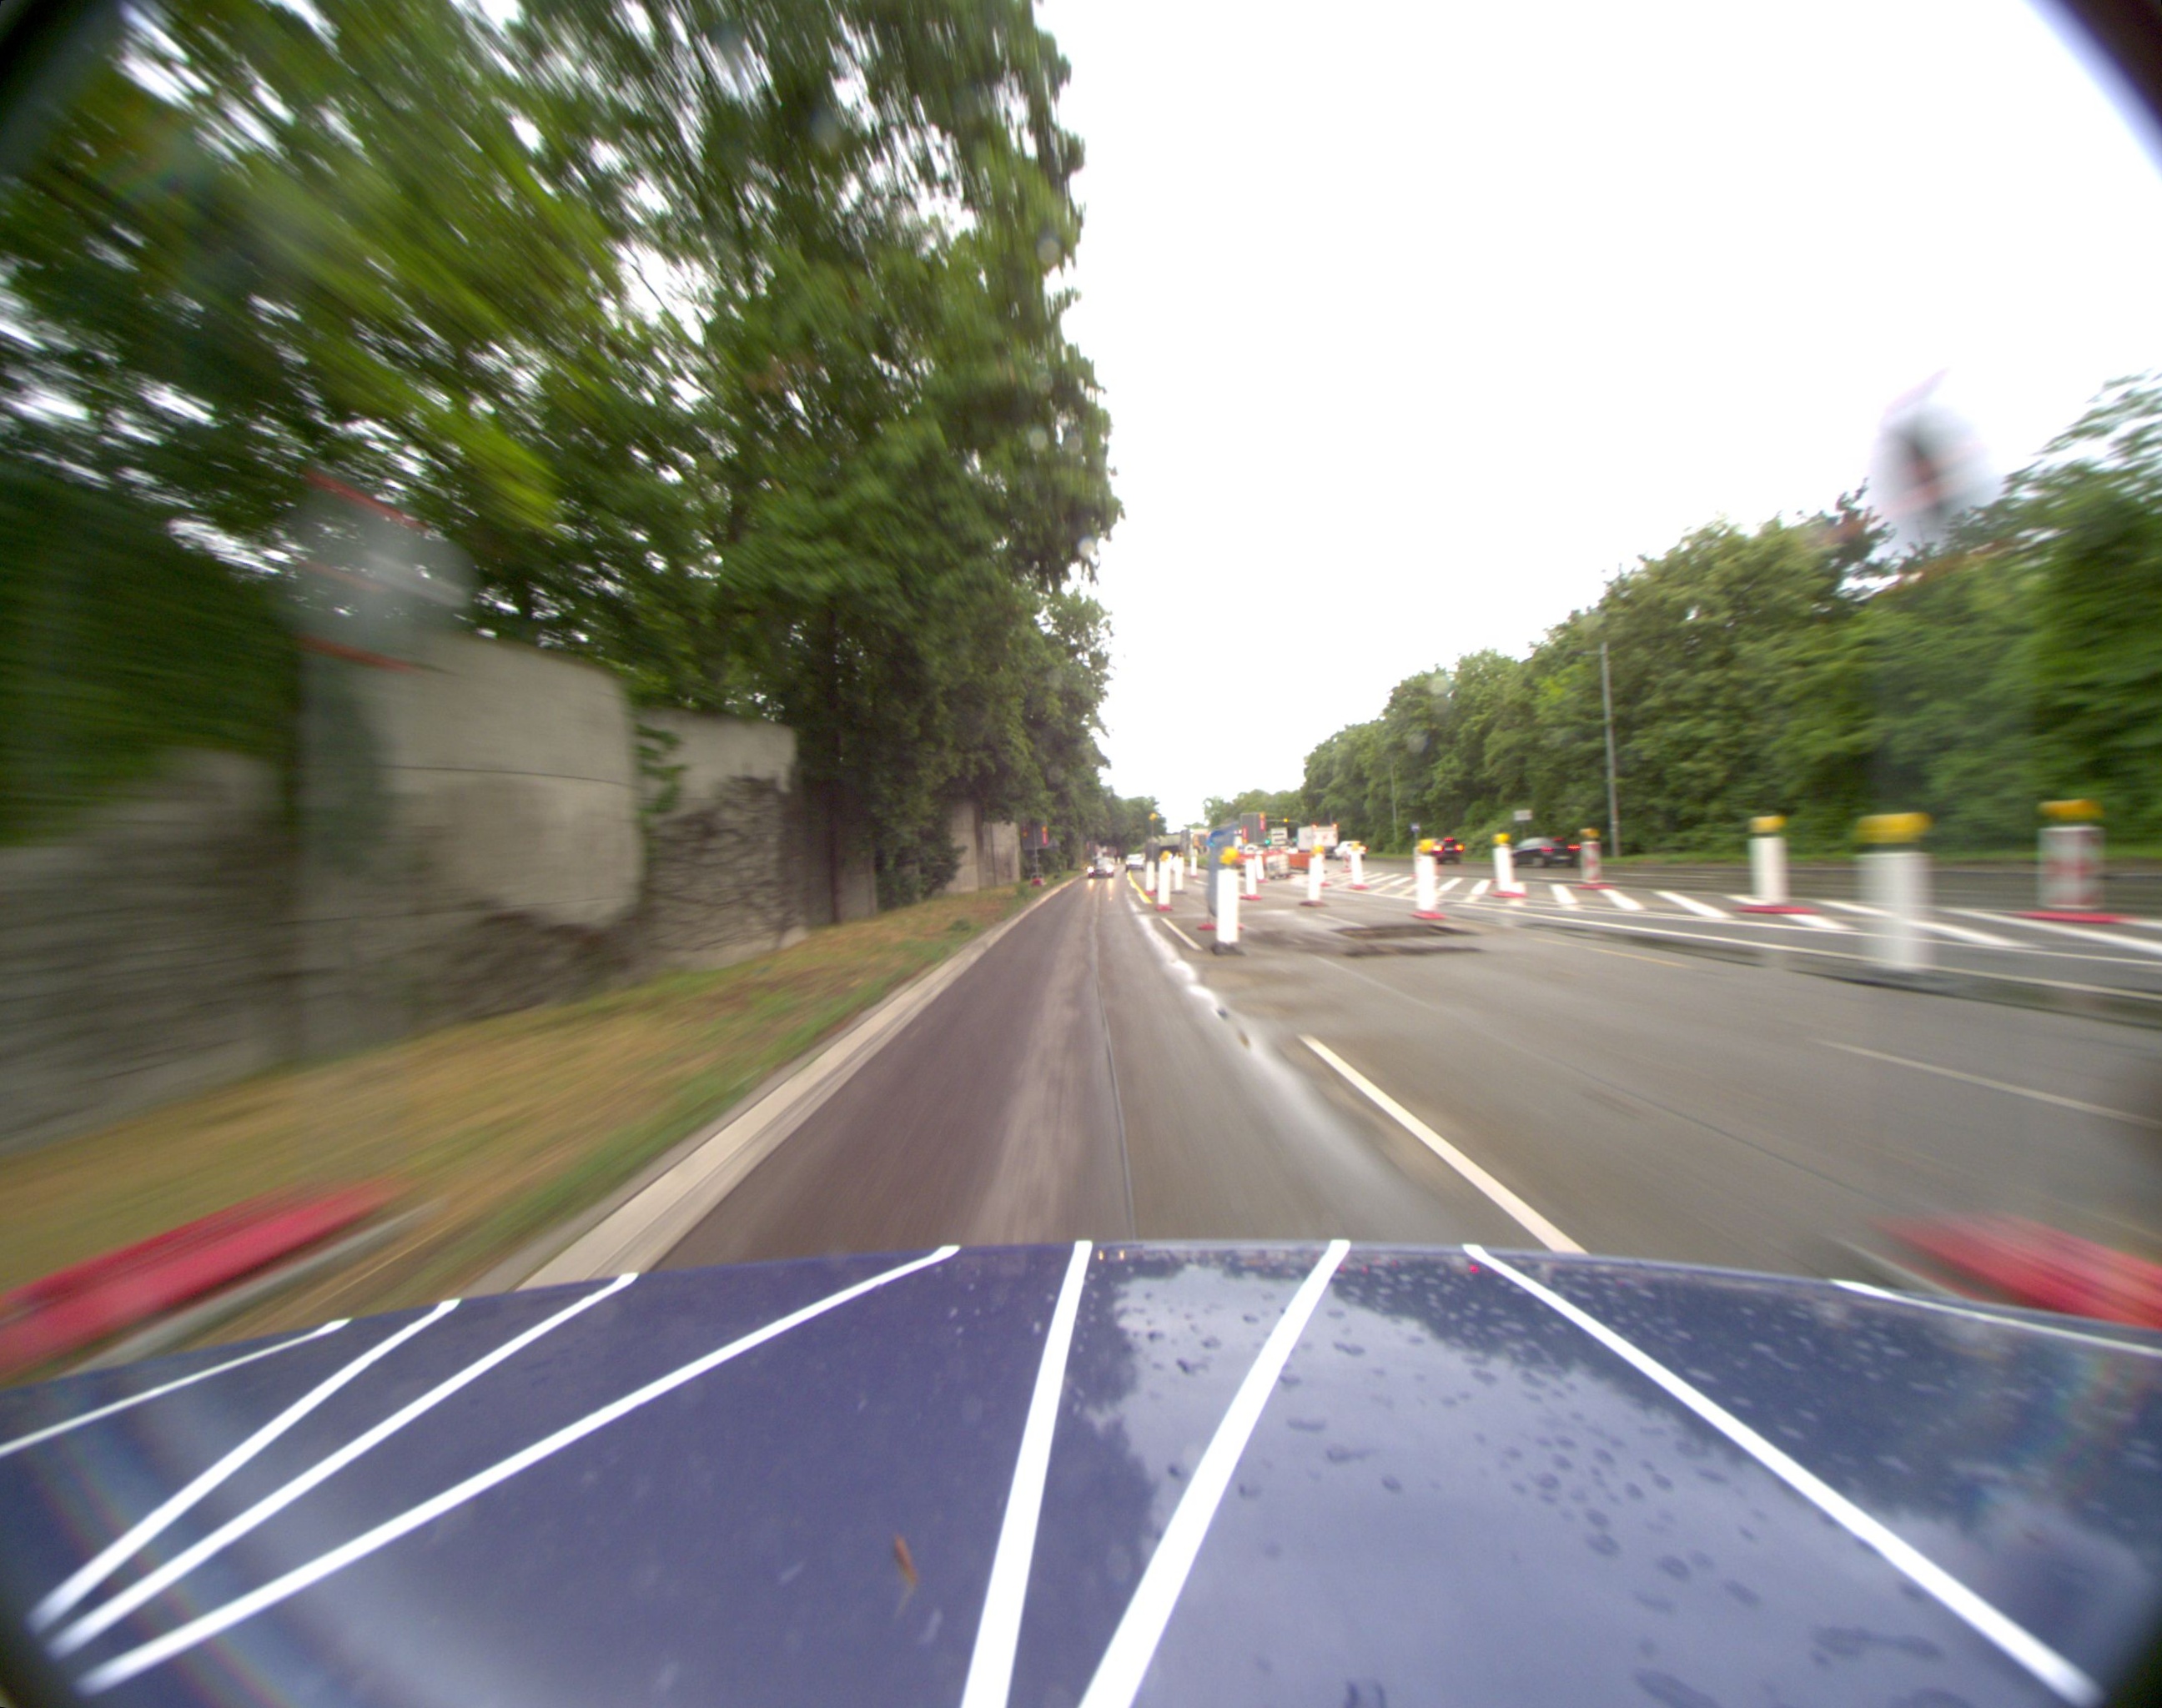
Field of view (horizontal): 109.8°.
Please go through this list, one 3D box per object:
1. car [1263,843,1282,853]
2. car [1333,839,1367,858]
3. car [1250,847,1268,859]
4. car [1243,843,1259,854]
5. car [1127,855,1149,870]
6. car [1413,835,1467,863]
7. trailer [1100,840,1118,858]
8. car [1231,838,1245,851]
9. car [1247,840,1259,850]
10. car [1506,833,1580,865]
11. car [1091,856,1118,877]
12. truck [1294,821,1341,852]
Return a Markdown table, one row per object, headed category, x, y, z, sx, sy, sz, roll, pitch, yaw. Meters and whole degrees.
| category | x | y | z | sx | sy | sz | roll | pitch | yaw |
| --- | --- | --- | --- | --- | --- | --- | --- | --- | --- |
| car | 24.453 | -0.749 | 97.356 | 1.609 | 1.145 | 4.284 | -3 | 0 | 4 |
| car | 25.512 | -0.526 | 72.196 | 1.848 | 1.713 | 4.721 | 0 | 0 | 4 |
| car | 26.172 | -0.139 | 111.814 | 1.839 | 1.541 | 4.041 | -3 | 0 | 4 |
| car | 30.606 | -0.987 | 136.785 | 1.918 | 1.770 | 4.835 | -4 | -1 | 4 |
| car | 5.478 | 0.822 | 72.673 | 1.696 | 1.300 | 3.828 | -3 | 0 | 10 |
| car | 23.318 | -0.311 | 49.537 | 1.639 | 1.637 | 4.200 | -2 | 0 | 2 |
| trailer | 5.747 | -1.048 | 155.315 | 2.311 | 3.568 | 5.965 | -2 | 0 | 12 |
| car | 33.424 | -2.016 | 161.777 | 2.199 | 2.376 | 6.248 | -4 | -1 | 8 |
| car | 40.698 | -2.131 | 179.803 | 2.038 | 1.962 | 4.994 | -4 | -1 | 8 |
| car | 22.508 | -0.223 | 37.144 | 1.529 | 1.449 | 3.540 | -1 | 0 | 2 |
| car | 1.756 | 0.887 | 55.496 | 1.697 | 1.393 | 3.826 | -3 | 0 | 5 |
| truck | 26.661 | -1.927 | 86.149 | 2.801 | 3.130 | 10.150 | -3 | 0 | 5 |
